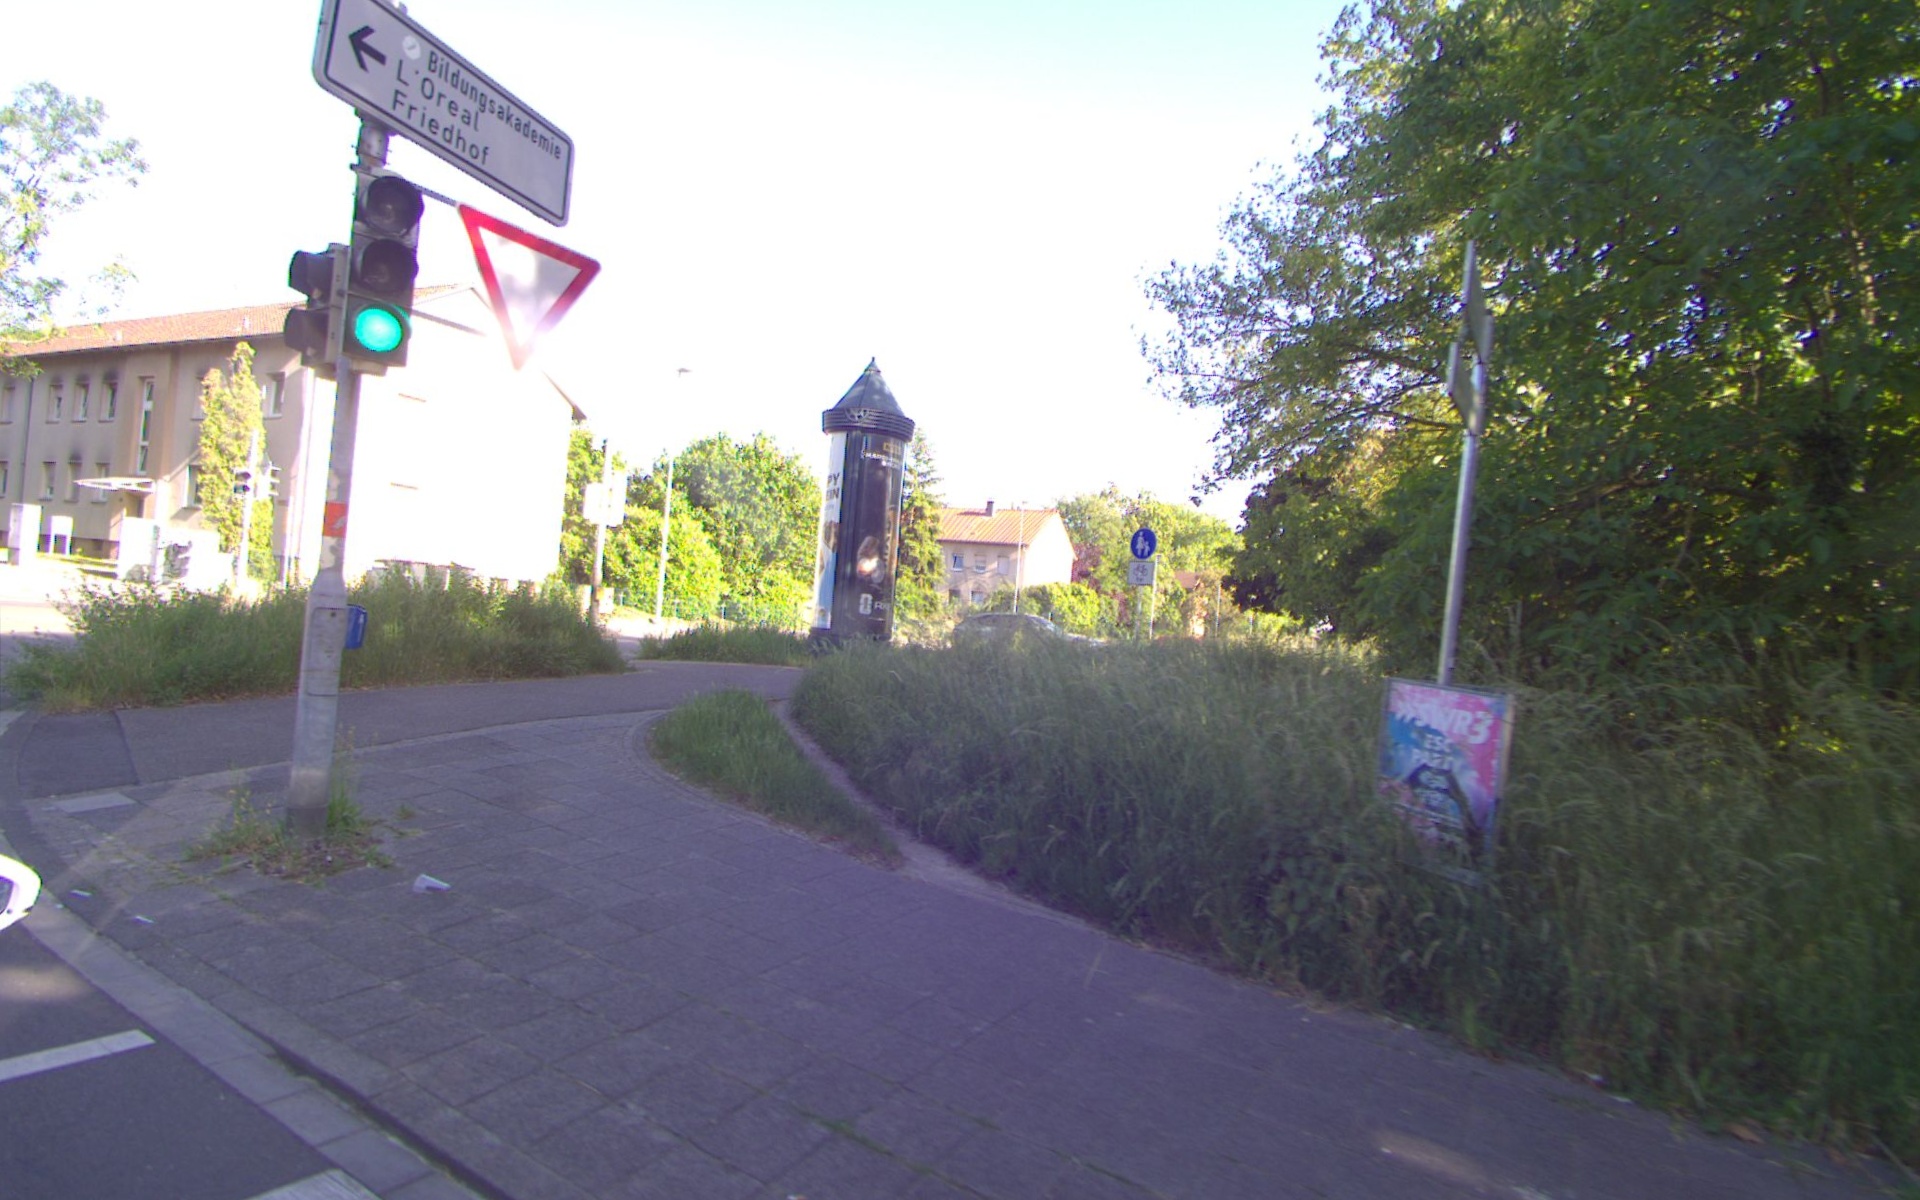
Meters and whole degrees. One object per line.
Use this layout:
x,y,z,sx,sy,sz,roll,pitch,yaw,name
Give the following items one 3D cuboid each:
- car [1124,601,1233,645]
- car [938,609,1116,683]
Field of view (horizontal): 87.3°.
9.314,0.977,42.949,4.125,1.549,1.868,2,-4,28,car
1.798,1.236,27.182,4.372,1.669,1.868,2,-4,28,car
